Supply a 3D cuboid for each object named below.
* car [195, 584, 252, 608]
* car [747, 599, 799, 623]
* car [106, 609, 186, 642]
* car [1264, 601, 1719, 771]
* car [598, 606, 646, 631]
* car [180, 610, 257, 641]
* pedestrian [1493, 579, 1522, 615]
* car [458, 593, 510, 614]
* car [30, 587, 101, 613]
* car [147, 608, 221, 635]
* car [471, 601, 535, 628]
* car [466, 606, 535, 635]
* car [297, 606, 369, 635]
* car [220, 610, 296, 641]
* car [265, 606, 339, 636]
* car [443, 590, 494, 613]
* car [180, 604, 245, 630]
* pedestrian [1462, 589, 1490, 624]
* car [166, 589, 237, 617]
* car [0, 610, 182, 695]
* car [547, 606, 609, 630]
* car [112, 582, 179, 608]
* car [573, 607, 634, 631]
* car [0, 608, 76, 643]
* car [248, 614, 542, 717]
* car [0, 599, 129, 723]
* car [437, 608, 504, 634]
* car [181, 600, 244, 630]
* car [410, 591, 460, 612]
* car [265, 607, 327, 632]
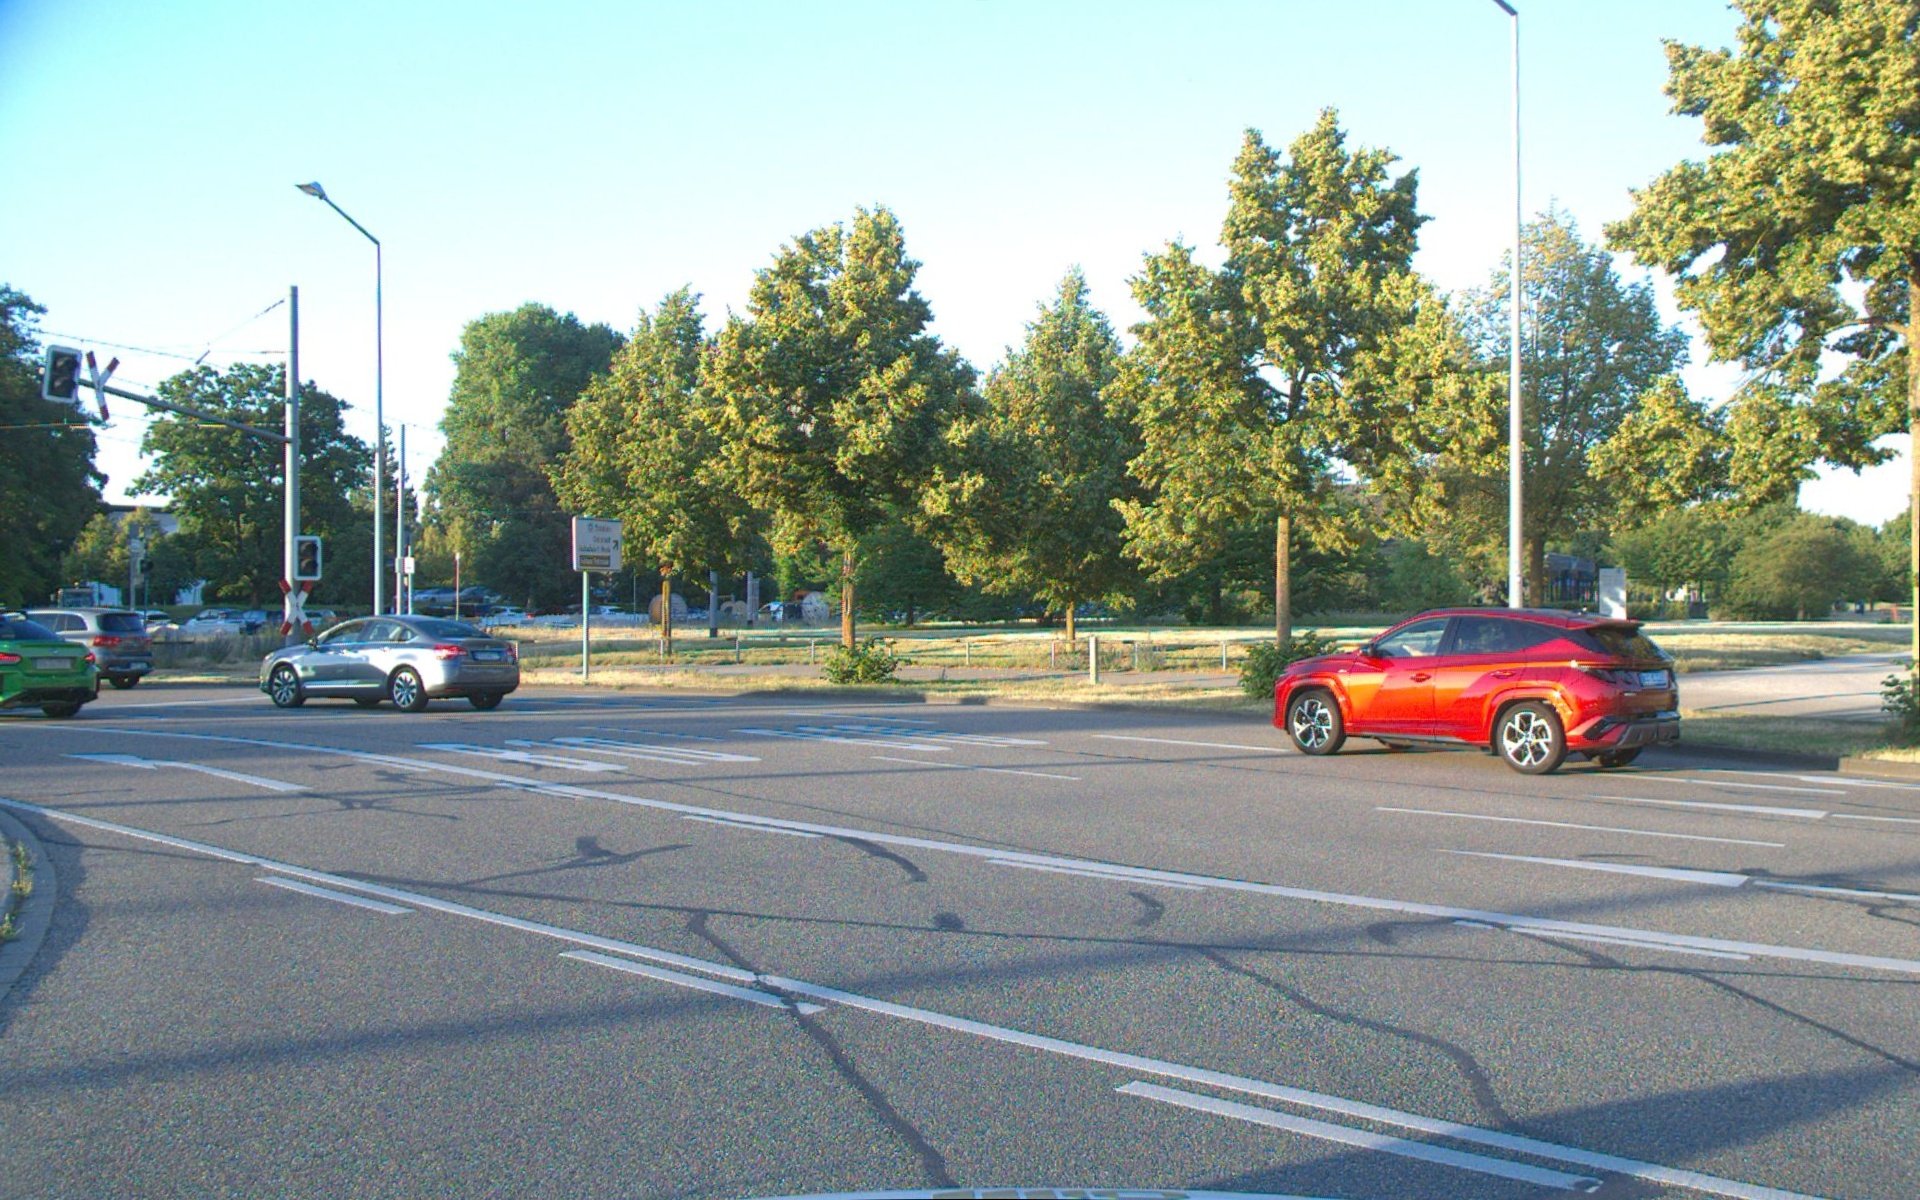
[{"bbox_3d":[-63.360,-0.320,142.367,1.958,2.049,4.105,0,0,33],"label":"car"},{"bbox_3d":[-12.988,0.763,114.677,1.724,1.646,3.940,0,0,-41],"label":"car"},{"bbox_3d":[-42.242,1.318,85.793,3.915,1.632,1.995,0,0,32],"label":"car"},{"bbox_3d":[5.651,0.820,18.006,1.982,1.601,4.349,0,0,-41],"label":"car"},{"bbox_3d":[-26.349,1.396,128.885,1.979,1.782,4.538,0,1,-37],"label":"car"},{"bbox_3d":[-40.517,1.367,90.382,3.915,1.632,1.995,0,0,32],"label":"car"},{"bbox_3d":[25.102,-0.122,75.792,1.047,1.646,0.911,0,0,2],"label":"pedestrian"},{"bbox_3d":[-41.673,0.301,144.730,3.902,1.736,2.001,0,0,6],"label":"car"},{"bbox_3d":[-70.519,-0.019,130.471,1.956,2.049,4.590,0,0,29],"label":"car"},{"bbox_3d":[-50.216,1.374,107.090,1.863,1.691,3.987,0,0,34],"label":"car"},{"bbox_3d":[-34.578,1.088,125.268,4.499,2.049,1.996,0,0,-9],"label":"car"},{"bbox_3d":[-32.510,1.444,117.160,4.499,2.049,1.996,0,0,-9],"label":"car"},{"bbox_3d":[-36.430,1.196,96.094,3.915,1.632,1.995,0,0,32],"label":"car"},{"bbox_3d":[-39.075,1.399,92.050,3.915,1.632,1.995,0,0,32],"label":"car"},{"bbox_3d":[-37.375,1.170,93.876,3.915,1.632,1.995,0,0,32],"label":"car"},{"bbox_3d":[-44.074,0.115,148.242,1.963,2.049,3.979,0,0,40],"label":"car"},{"bbox_3d":[-50.546,1.113,111.877,3.939,1.691,1.983,0,0,-27],"label":"car"},{"bbox_3d":[24.044,0.300,77.083,1.047,1.646,0.911,0,0,2],"label":"pedestrian"},{"bbox_3d":[-56.632,0.243,123.497,1.956,2.049,4.590,0,0,29],"label":"car"},{"bbox_3d":[-18.807,1.051,34.521,4.415,1.666,2.001,0,0,16],"label":"car"},{"bbox_3d":[-26.255,1.239,113.680,3.915,1.632,1.995,0,0,32],"label":"car"},{"bbox_3d":[-67.103,-0.408,136.346,1.958,2.049,4.585,0,0,33],"label":"car"},{"bbox_3d":[-24.886,1.325,115.429,3.915,1.632,1.995,0,0,32],"label":"car"},{"bbox_3d":[-45.612,1.241,81.440,3.915,1.632,1.995,0,0,32],"label":"car"},{"bbox_3d":[-9.045,0.982,26.402,4.567,1.489,1.884,0,0,29],"label":"car"},{"bbox_3d":[-14.105,0.797,23.316,4.382,1.606,1.999,0,0,25],"label":"car"},{"bbox_3d":[-30.962,1.326,104.691,3.915,1.632,1.995,0,0,32],"label":"car"},{"bbox_3d":[-52.396,1.042,115.962,3.939,2.049,1.983,0,0,-27],"label":"car"},{"bbox_3d":[-47.935,0.119,151.069,1.959,1.847,3.987,0,0,34],"label":"car"},{"bbox_3d":[-45.802,1.324,114.118,3.933,1.691,1.889,0,0,-23],"label":"car"}]
